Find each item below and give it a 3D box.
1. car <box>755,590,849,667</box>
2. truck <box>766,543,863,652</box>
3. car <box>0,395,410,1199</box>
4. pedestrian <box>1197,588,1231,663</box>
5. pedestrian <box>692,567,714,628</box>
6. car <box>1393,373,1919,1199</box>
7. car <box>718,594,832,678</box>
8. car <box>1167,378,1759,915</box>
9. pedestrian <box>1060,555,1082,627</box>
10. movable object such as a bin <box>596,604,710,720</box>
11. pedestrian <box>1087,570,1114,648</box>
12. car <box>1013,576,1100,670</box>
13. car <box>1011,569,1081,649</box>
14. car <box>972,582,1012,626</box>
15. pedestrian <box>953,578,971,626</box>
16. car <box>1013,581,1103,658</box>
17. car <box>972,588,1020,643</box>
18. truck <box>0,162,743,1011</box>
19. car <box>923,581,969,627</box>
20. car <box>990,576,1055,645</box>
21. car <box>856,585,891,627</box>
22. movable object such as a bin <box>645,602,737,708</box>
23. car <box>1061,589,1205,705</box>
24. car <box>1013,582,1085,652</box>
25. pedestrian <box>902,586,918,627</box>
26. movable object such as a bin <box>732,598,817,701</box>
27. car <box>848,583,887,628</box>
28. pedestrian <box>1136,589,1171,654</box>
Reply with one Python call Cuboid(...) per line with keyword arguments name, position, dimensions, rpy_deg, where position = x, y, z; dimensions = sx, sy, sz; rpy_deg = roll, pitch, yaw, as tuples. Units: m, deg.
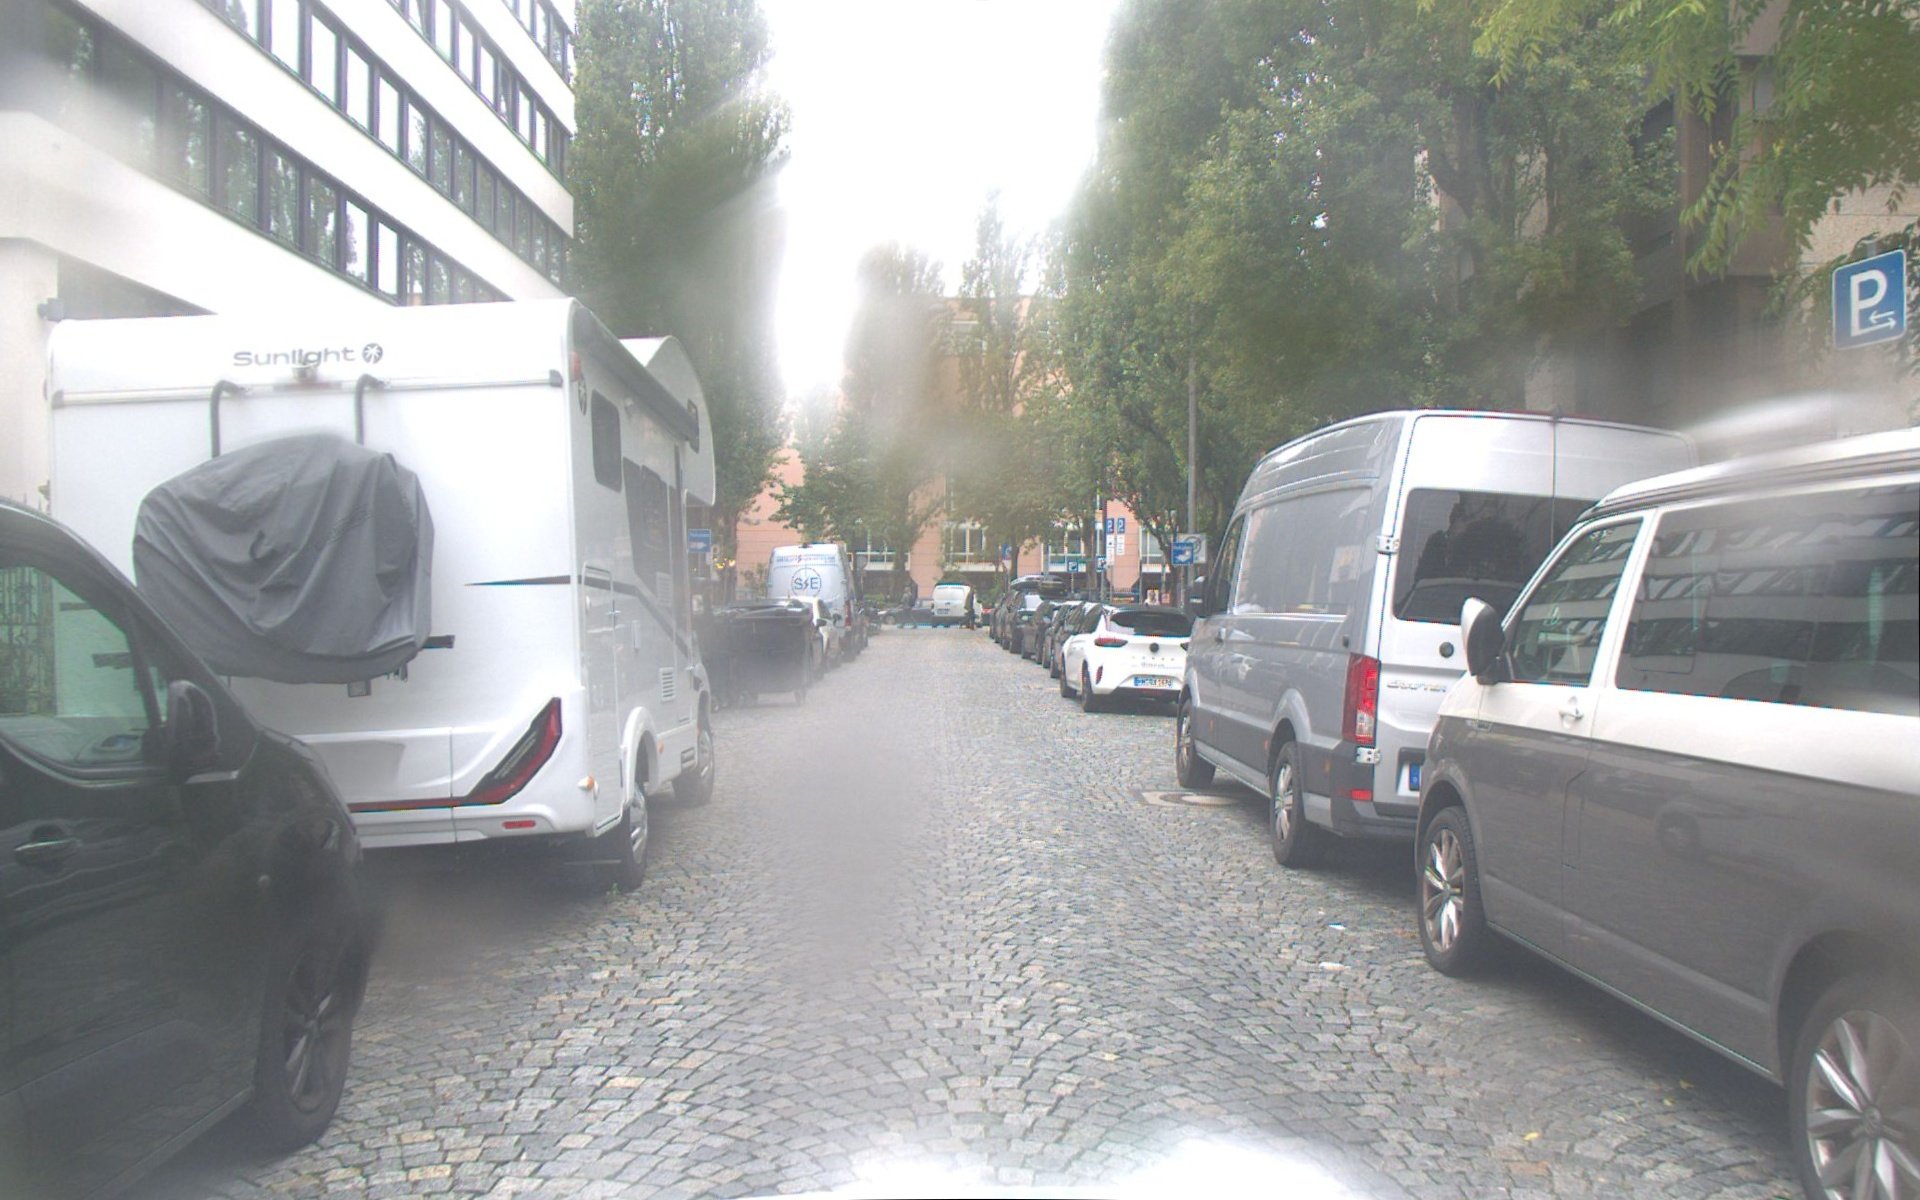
Cuboid(name="car", position=(-3.190, 0.563, 33.899), dimensions=(1.628, 1.481, 3.547), rpy_deg=(1, 0, -1))
Cuboid(name="truck", position=(-3.322, -0.043, 38.412), dimensions=(1.953, 2.388, 4.067), rpy_deg=(1, 0, -1))
Cuboid(name="car", position=(-2.584, 0.547, 3.101), dimensions=(1.856, 1.781, 4.166), rpy_deg=(-1, 0, -3))
Cuboid(name="pedestrian", position=(6.274, 0.628, 40.890), dimensions=(0.697, 1.836, 0.813), rpy_deg=(1, -1, 0))
Cuboid(name="pedestrian", position=(-8.070, -0.079, 51.873), dimensions=(0.590, 1.911, 0.548), rpy_deg=(1, -1, -1))
Cuboid(name="car", position=(2.953, 0.532, 5.091), dimensions=(1.764, 1.983, 4.858), rpy_deg=(3, 0, -2))
Cuboid(name="car", position=(-3.156, 0.590, 28.731), dimensions=(1.628, 1.352, 3.547), rpy_deg=(1, 0, -1))
Cuboid(name="car", position=(2.783, 0.196, 10.784), dimensions=(1.857, 2.468, 5.609), rpy_deg=(4, 1, -2))
Cuboid(name="pedestrian", position=(3.871, -0.299, 57.535), dimensions=(0.697, 2.468, 0.813), rpy_deg=(1, -1, 0))
Cuboid(name="movable object such as a bin", position=(-3.785, 0.754, 20.492), dimensions=(1.209, 1.387, 1.110), rpy_deg=(1, 0, -1))
Cuboid(name="pedestrian", position=(4.040, 0.262, 47.513), dimensions=(0.697, 2.230, 0.813), rpy_deg=(1, -1, 0))
Cuboid(name="car", position=(1.839, 0.440, 32.276), dimensions=(1.441, 1.735, 3.118), rpy_deg=(1, 0, -1))
Cuboid(name="car", position=(2.281, 0.238, 44.631), dimensions=(1.707, 2.067, 3.865), rpy_deg=(0, 0, 0))
Cuboid(name="car", position=(1.288, 0.165, 67.497), dimensions=(1.441, 1.735, 3.117), rpy_deg=(1, 0, -3))
Cuboid(name="pedestrian", position=(0.104, 0.100, 67.579), dimensions=(0.710, 1.944, 0.641), rpy_deg=(1, -1, 1))
Cuboid(name="car", position=(2.148, 0.421, 36.886), dimensions=(1.829, 1.633, 3.272), rpy_deg=(0, 0, 0))
Cuboid(name="car", position=(1.150, 0.501, 54.006), dimensions=(1.441, 1.735, 3.118), rpy_deg=(1, 0, -1))
Cuboid(name="truck", position=(-2.807, -0.086, 9.315), dimensions=(2.458, 3.084, 6.382), rpy_deg=(-2, 1, -2))
Cuboid(name="car", position=(-0.589, 0.185, 73.506), dimensions=(1.955, 1.970, 4.000), rpy_deg=(0, 0, 0))
Cuboid(name="car", position=(1.845, 0.303, 49.773), dimensions=(1.829, 1.995, 4.000), rpy_deg=(0, 0, 0))
Cuboid(name="car", position=(-3.322, 0.218, 63.875), dimensions=(1.251, 1.568, 3.118), rpy_deg=(1, 0, -1))
Cuboid(name="movable object such as a bin", position=(-3.624, 0.721, 22.392), dimensions=(1.051, 1.387, 1.272), rpy_deg=(1, 0, -2))
Cuboid(name="car", position=(2.377, 0.625, 23.427), dimensions=(1.567, 1.512, 3.478), rpy_deg=(1, 0, -2))
Cuboid(name="car", position=(2.166, 0.420, 40.788), dimensions=(1.601, 1.633, 3.272), rpy_deg=(1, 0, 0))
Cuboid(name="pedestrian", position=(-2.086, 0.276, 69.013), dimensions=(0.674, 1.716, 0.500), rpy_deg=(1, -1, -2))
Cuboid(name="movable object such as a bin", position=(-2.565, 0.669, 23.060), dimensions=(1.042, 1.387, 1.289), rpy_deg=(1, 0, -1))
Cuboid(name="car", position=(-3.288, 0.198, 58.961), dimensions=(1.264, 1.567, 3.118), rpy_deg=(1, 0, -1))
Cuboid(name="pedestrian", position=(5.309, 0.588, 45.421), dimensions=(0.776, 1.750, 0.854), rpy_deg=(1, -1, -6))
